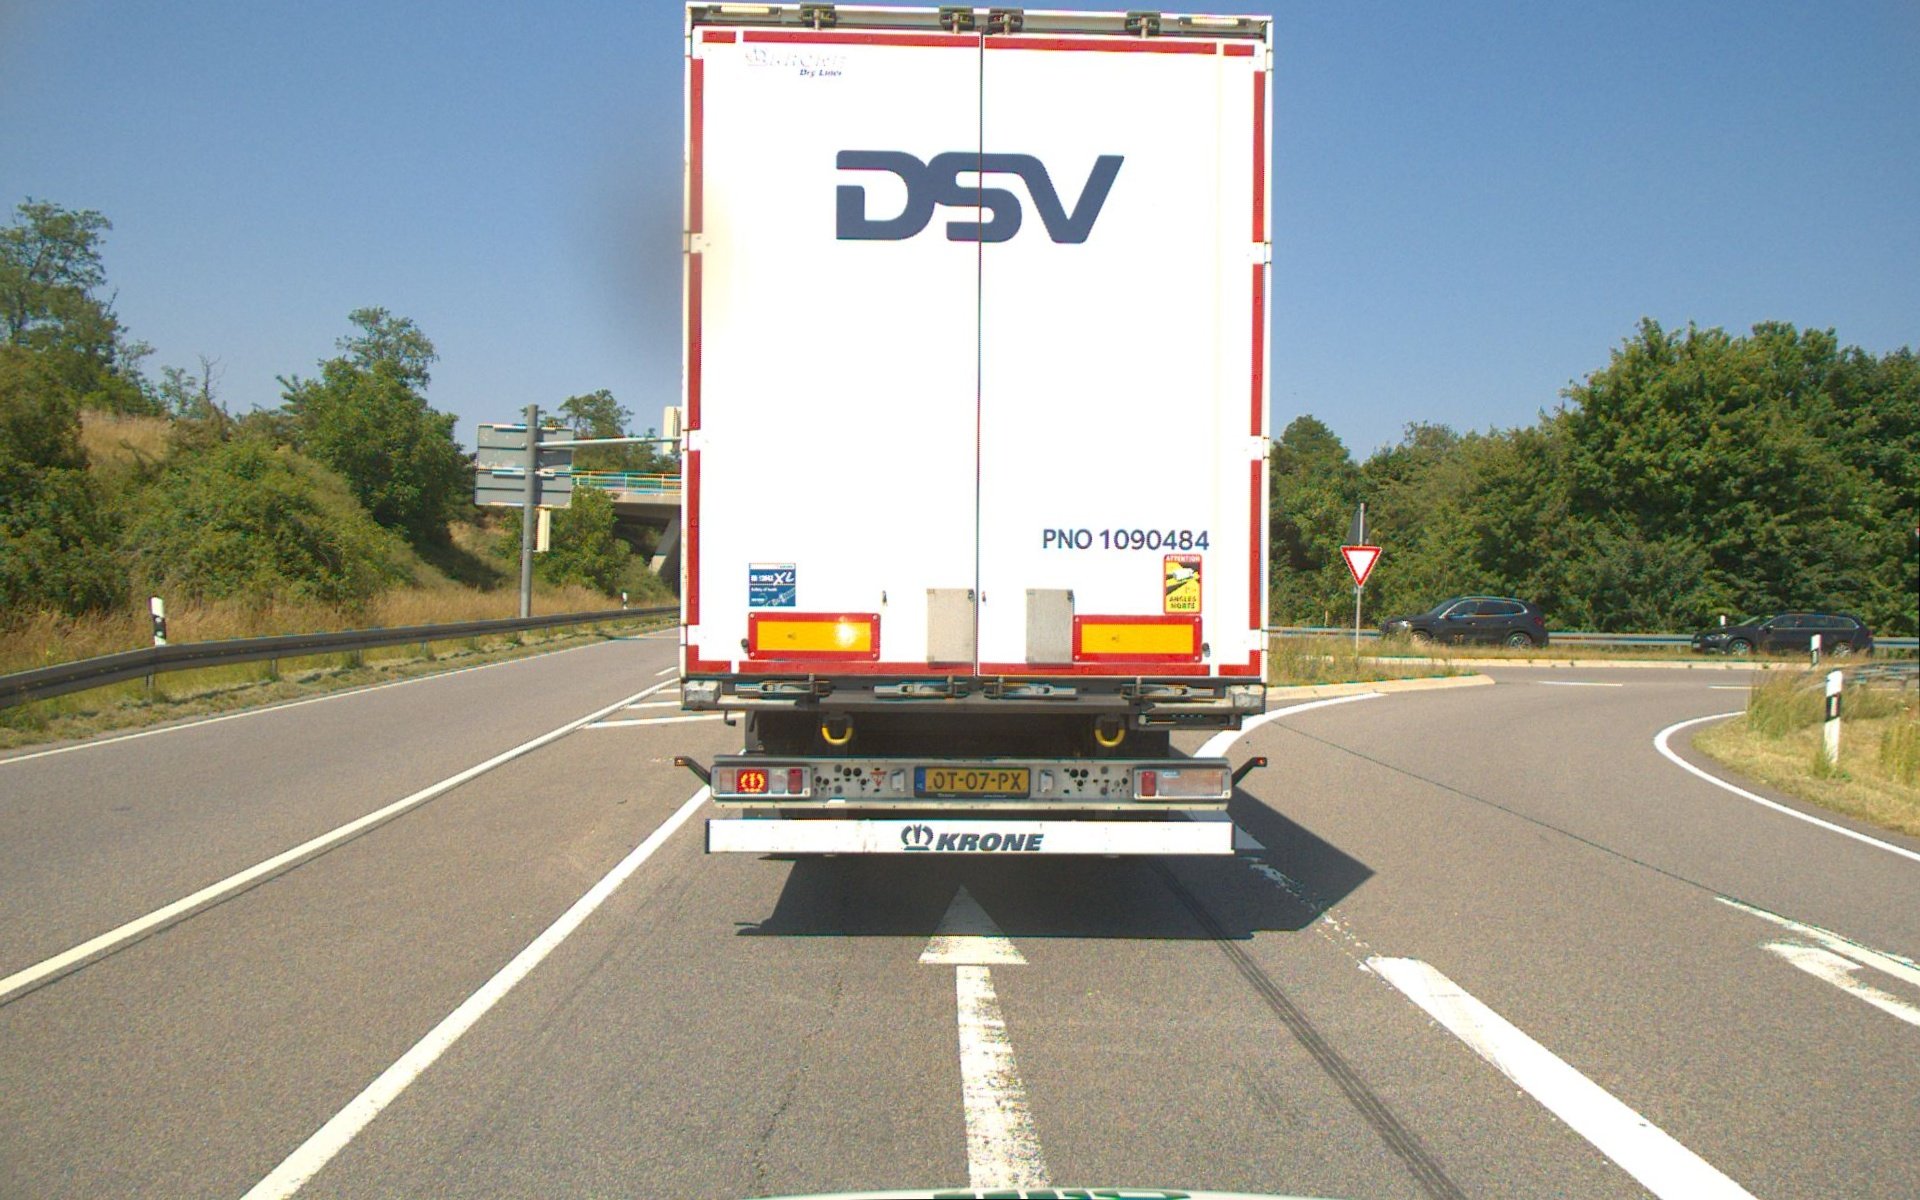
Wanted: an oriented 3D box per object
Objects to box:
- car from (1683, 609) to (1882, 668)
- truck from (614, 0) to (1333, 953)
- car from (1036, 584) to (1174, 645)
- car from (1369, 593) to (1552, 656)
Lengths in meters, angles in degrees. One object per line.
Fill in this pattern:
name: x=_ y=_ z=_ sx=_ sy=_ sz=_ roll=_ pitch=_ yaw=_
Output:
car: x=22.730 y=1.037 z=45.863 sx=4.583 sy=1.540 sz=1.854 roll=1 pitch=-1 yaw=6
truck: x=-0.049 y=-0.556 z=11.765 sx=2.927 sy=4.011 sz=9.872 roll=1 pitch=0 yaw=-1
car: x=4.183 y=0.419 z=47.891 sx=3.901 sy=1.669 sz=1.842 roll=1 pitch=-1 yaw=5
car: x=13.450 y=0.652 z=44.620 sx=4.393 sy=1.626 sz=1.768 roll=1 pitch=-1 yaw=2
